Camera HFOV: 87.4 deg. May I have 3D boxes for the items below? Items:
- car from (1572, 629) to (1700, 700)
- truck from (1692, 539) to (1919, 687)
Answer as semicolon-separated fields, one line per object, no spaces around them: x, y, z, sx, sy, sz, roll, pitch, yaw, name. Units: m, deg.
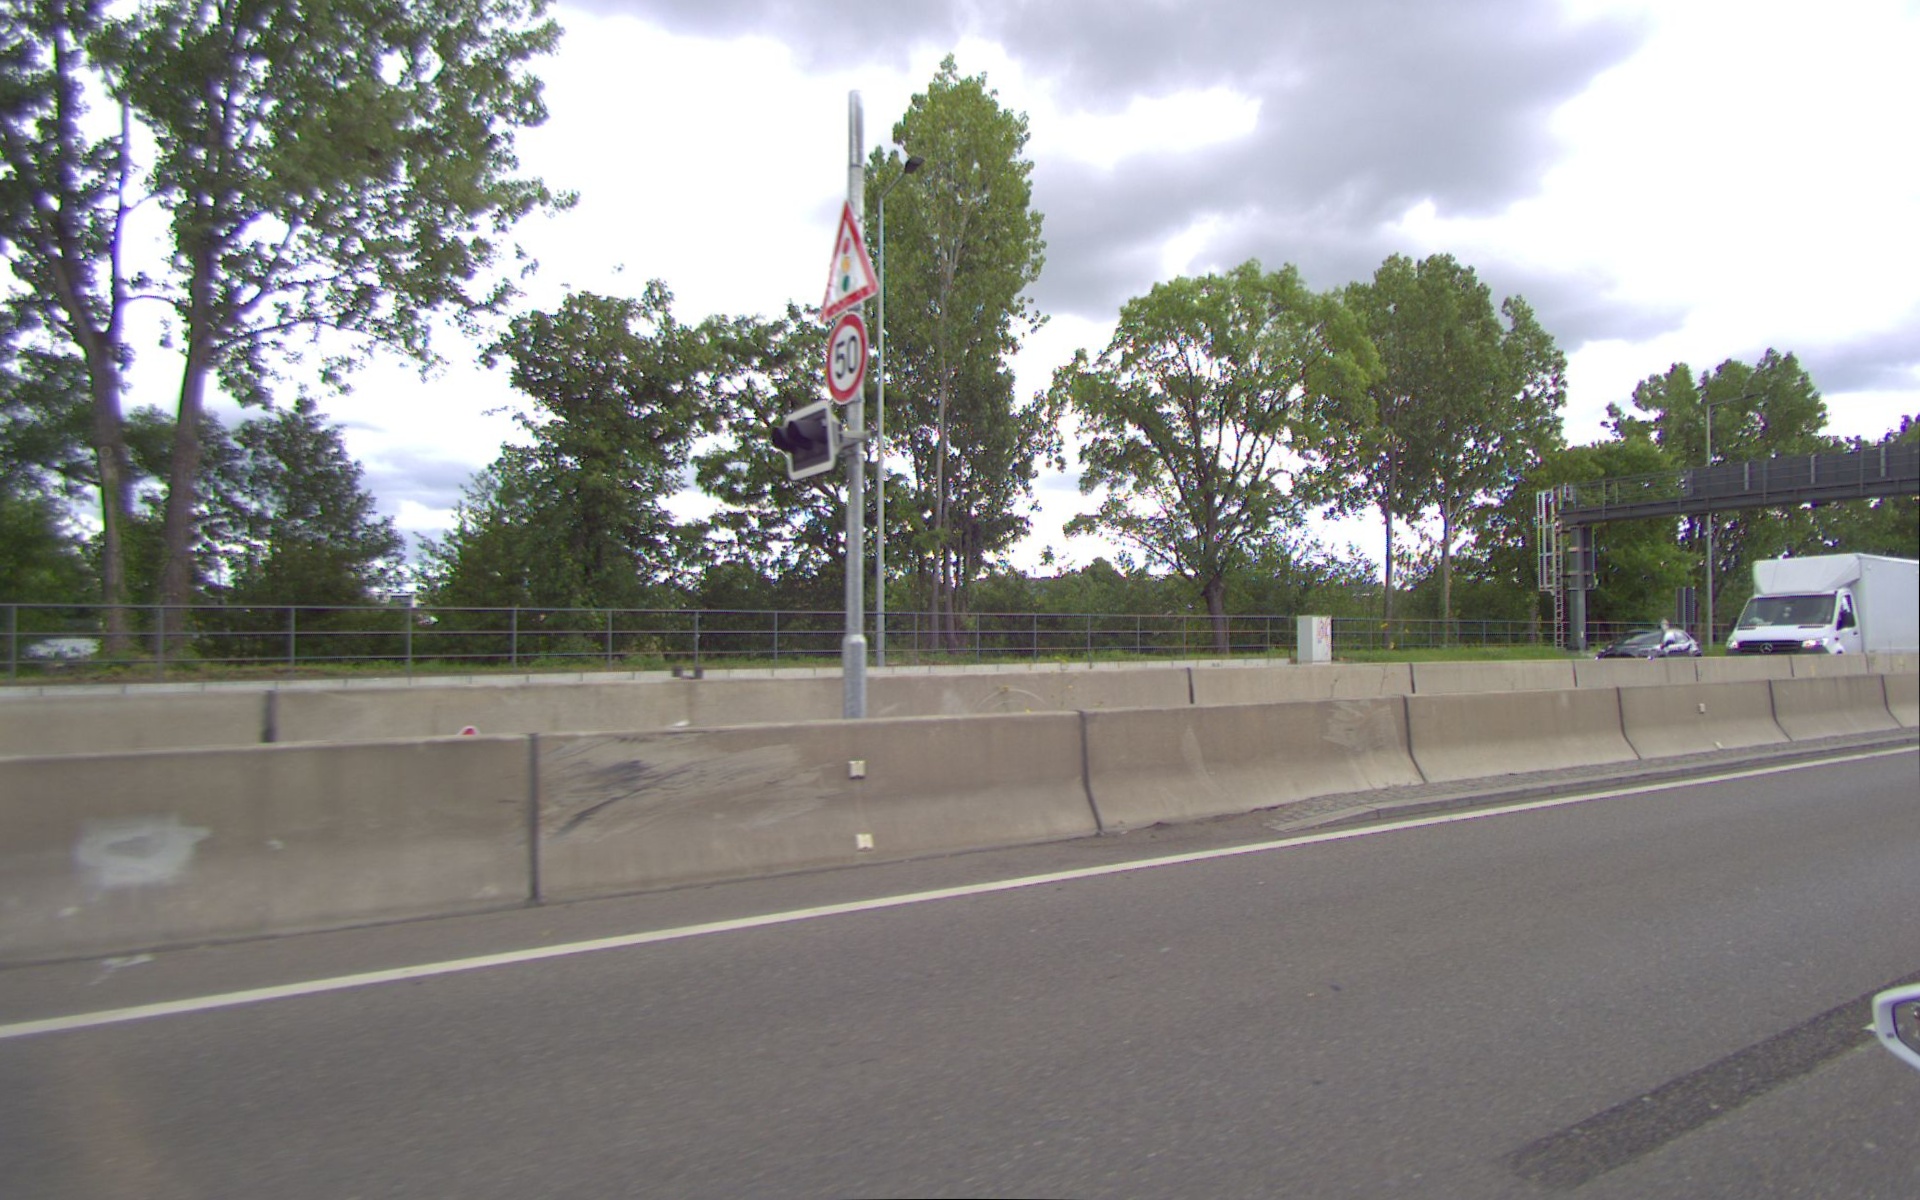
21.715;2.011;32.226;3.956;2.041;1.982;1;1;-33;car
20.842;0.302;24.353;7.119;3.149;2.391;1;1;-31;truck
